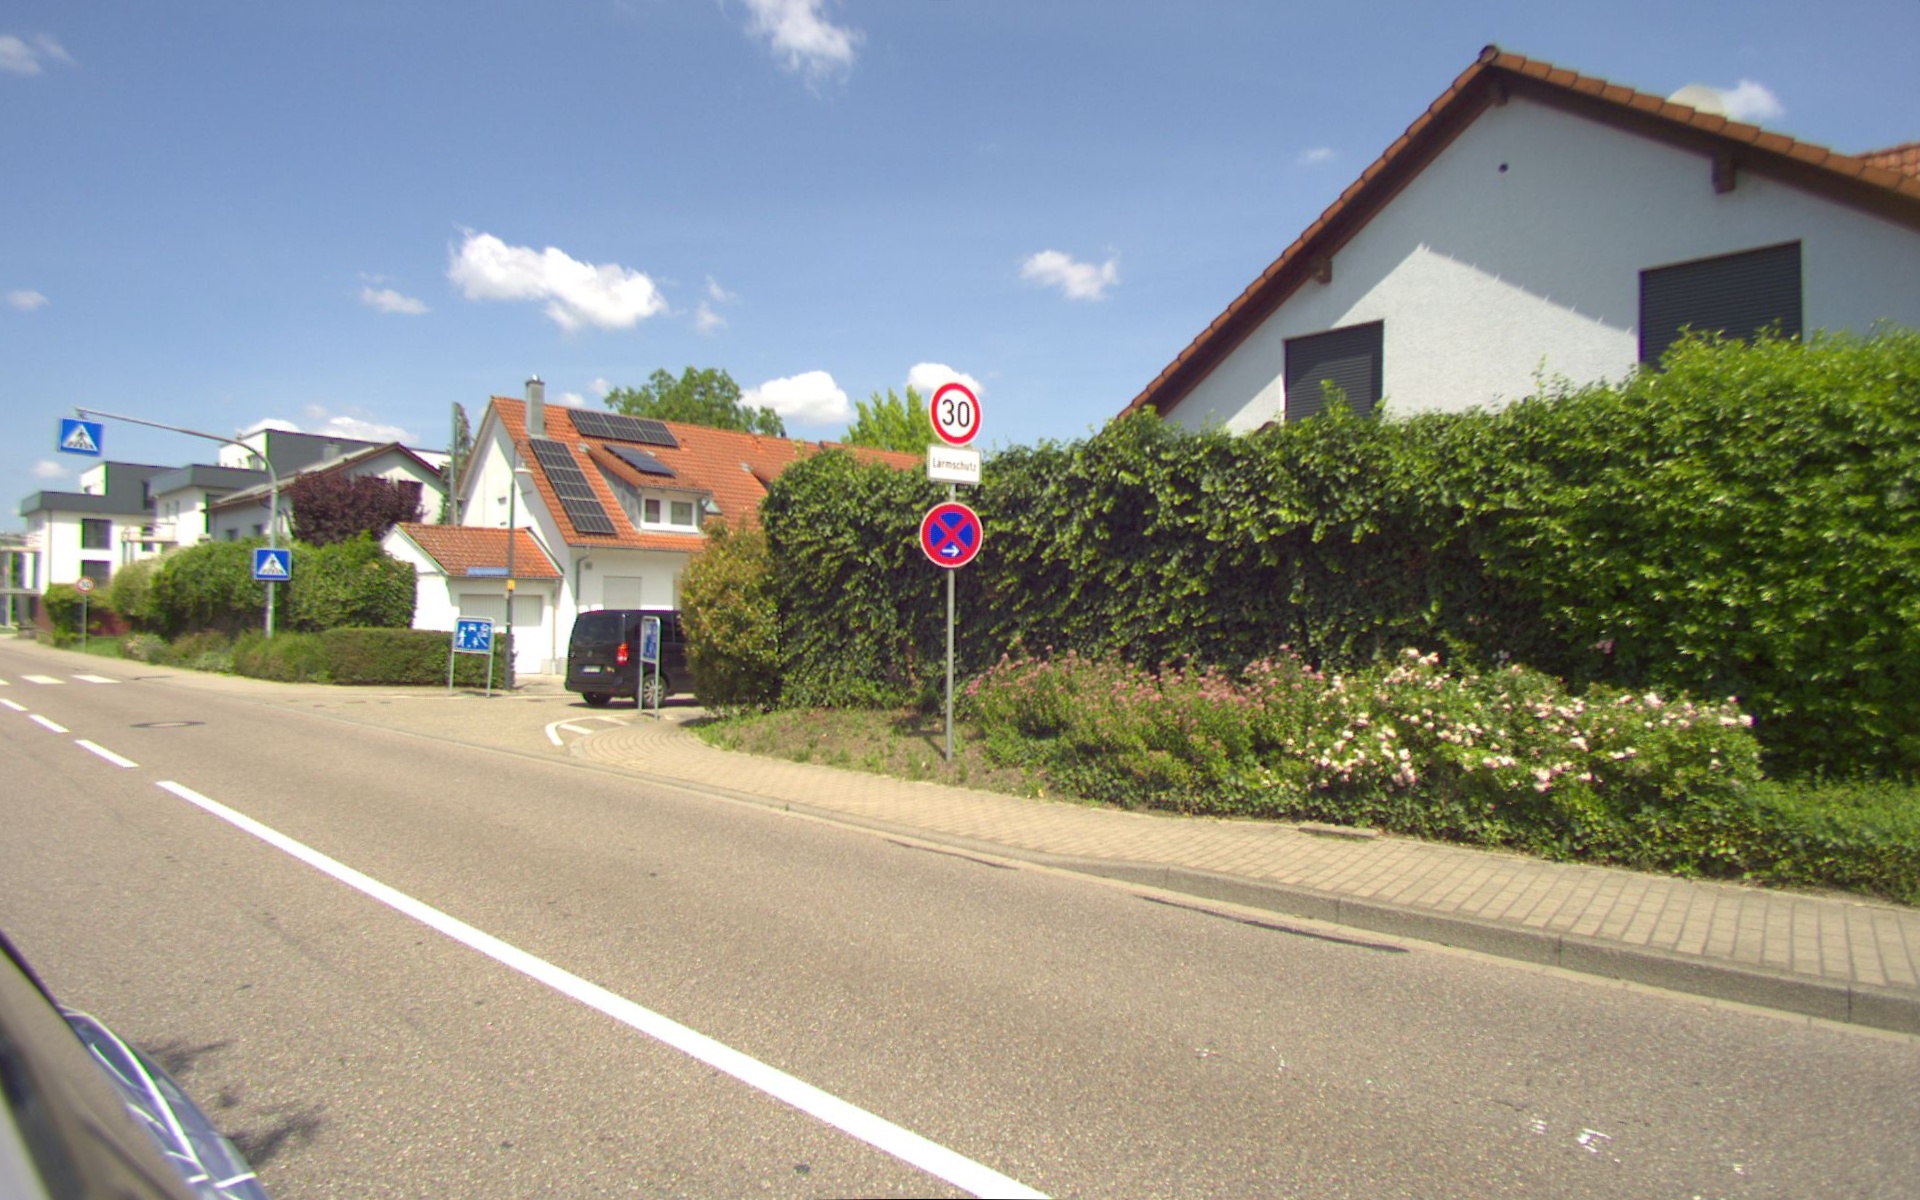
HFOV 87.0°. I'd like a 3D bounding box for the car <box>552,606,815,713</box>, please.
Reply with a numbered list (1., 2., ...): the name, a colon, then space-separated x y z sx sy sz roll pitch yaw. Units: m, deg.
1. car: -5.388 1.146 20.439 1.995 1.866 5.009 0 -2 34
